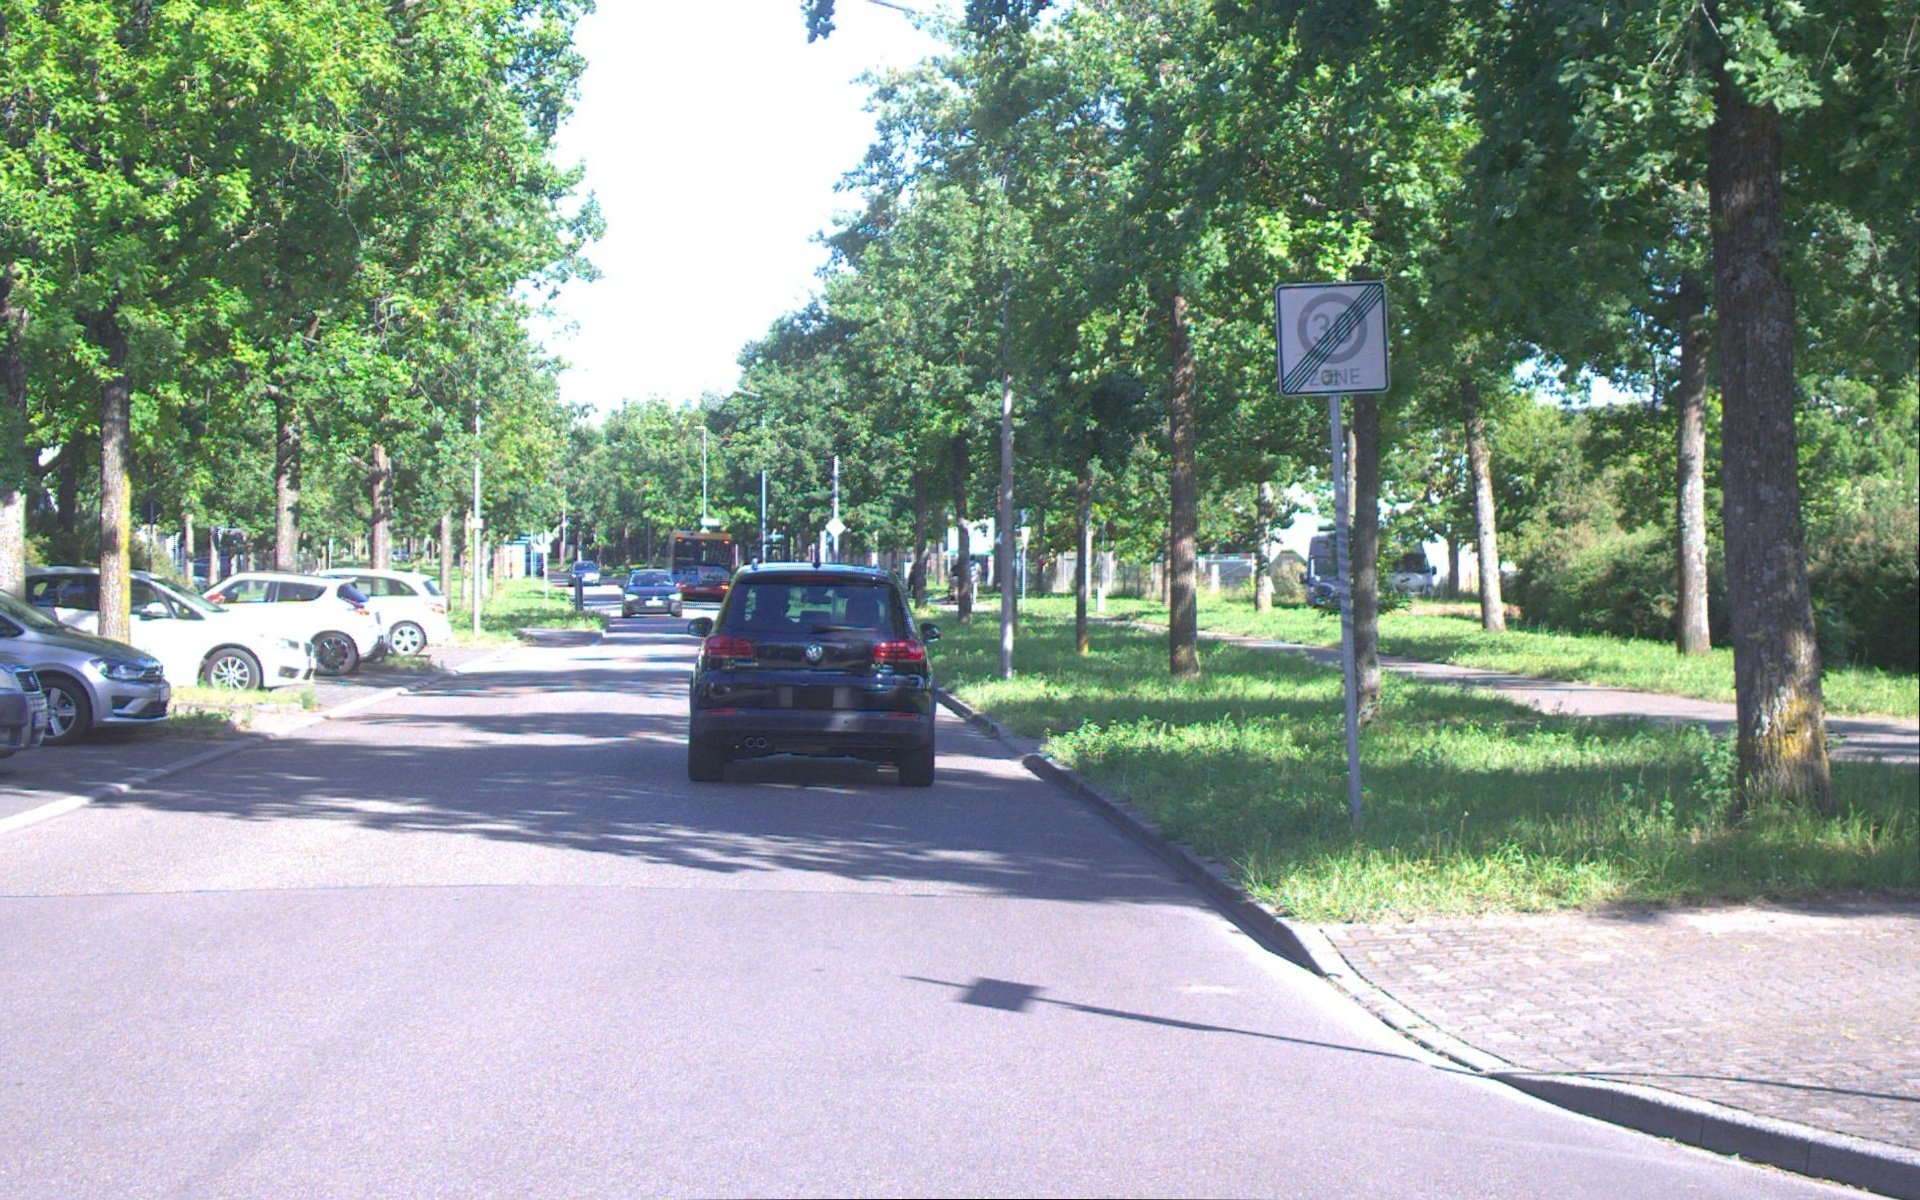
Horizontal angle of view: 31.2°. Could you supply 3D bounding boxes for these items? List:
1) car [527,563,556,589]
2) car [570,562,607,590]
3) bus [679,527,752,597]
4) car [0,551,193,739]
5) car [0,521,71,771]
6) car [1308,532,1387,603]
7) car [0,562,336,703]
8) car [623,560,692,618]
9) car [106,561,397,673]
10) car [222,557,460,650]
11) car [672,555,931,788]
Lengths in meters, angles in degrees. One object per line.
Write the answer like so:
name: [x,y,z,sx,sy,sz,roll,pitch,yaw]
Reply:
car: [-29.451,-1.675,241.983,1.816,1.769,3.778,0,0,-4]
car: [-21.284,-1.387,197.100,1.825,1.546,3.689,0,1,-2]
bus: [-10.662,-1.652,150.456,2.928,2.993,5.737,0,0,-2]
car: [-9.147,0.383,31.132,4.016,1.642,1.897,0,1,-2]
car: [-8.992,0.318,26.104,4.016,1.833,1.897,0,1,-2]
car: [11.103,-0.958,98.735,2.054,2.007,4.000,0,1,3]
car: [-9.633,0.370,41.179,4.016,1.642,1.811,0,0,-2]
car: [-9.099,-0.338,103.532,1.852,1.687,3.956,0,1,-2]
car: [-10.590,0.240,51.582,4.016,1.642,1.811,0,0,-2]
car: [-11.171,0.066,62.240,4.016,1.642,1.811,0,0,-2]
car: [-1.234,0.493,26.779,1.838,1.631,3.958,1,1,-3]
